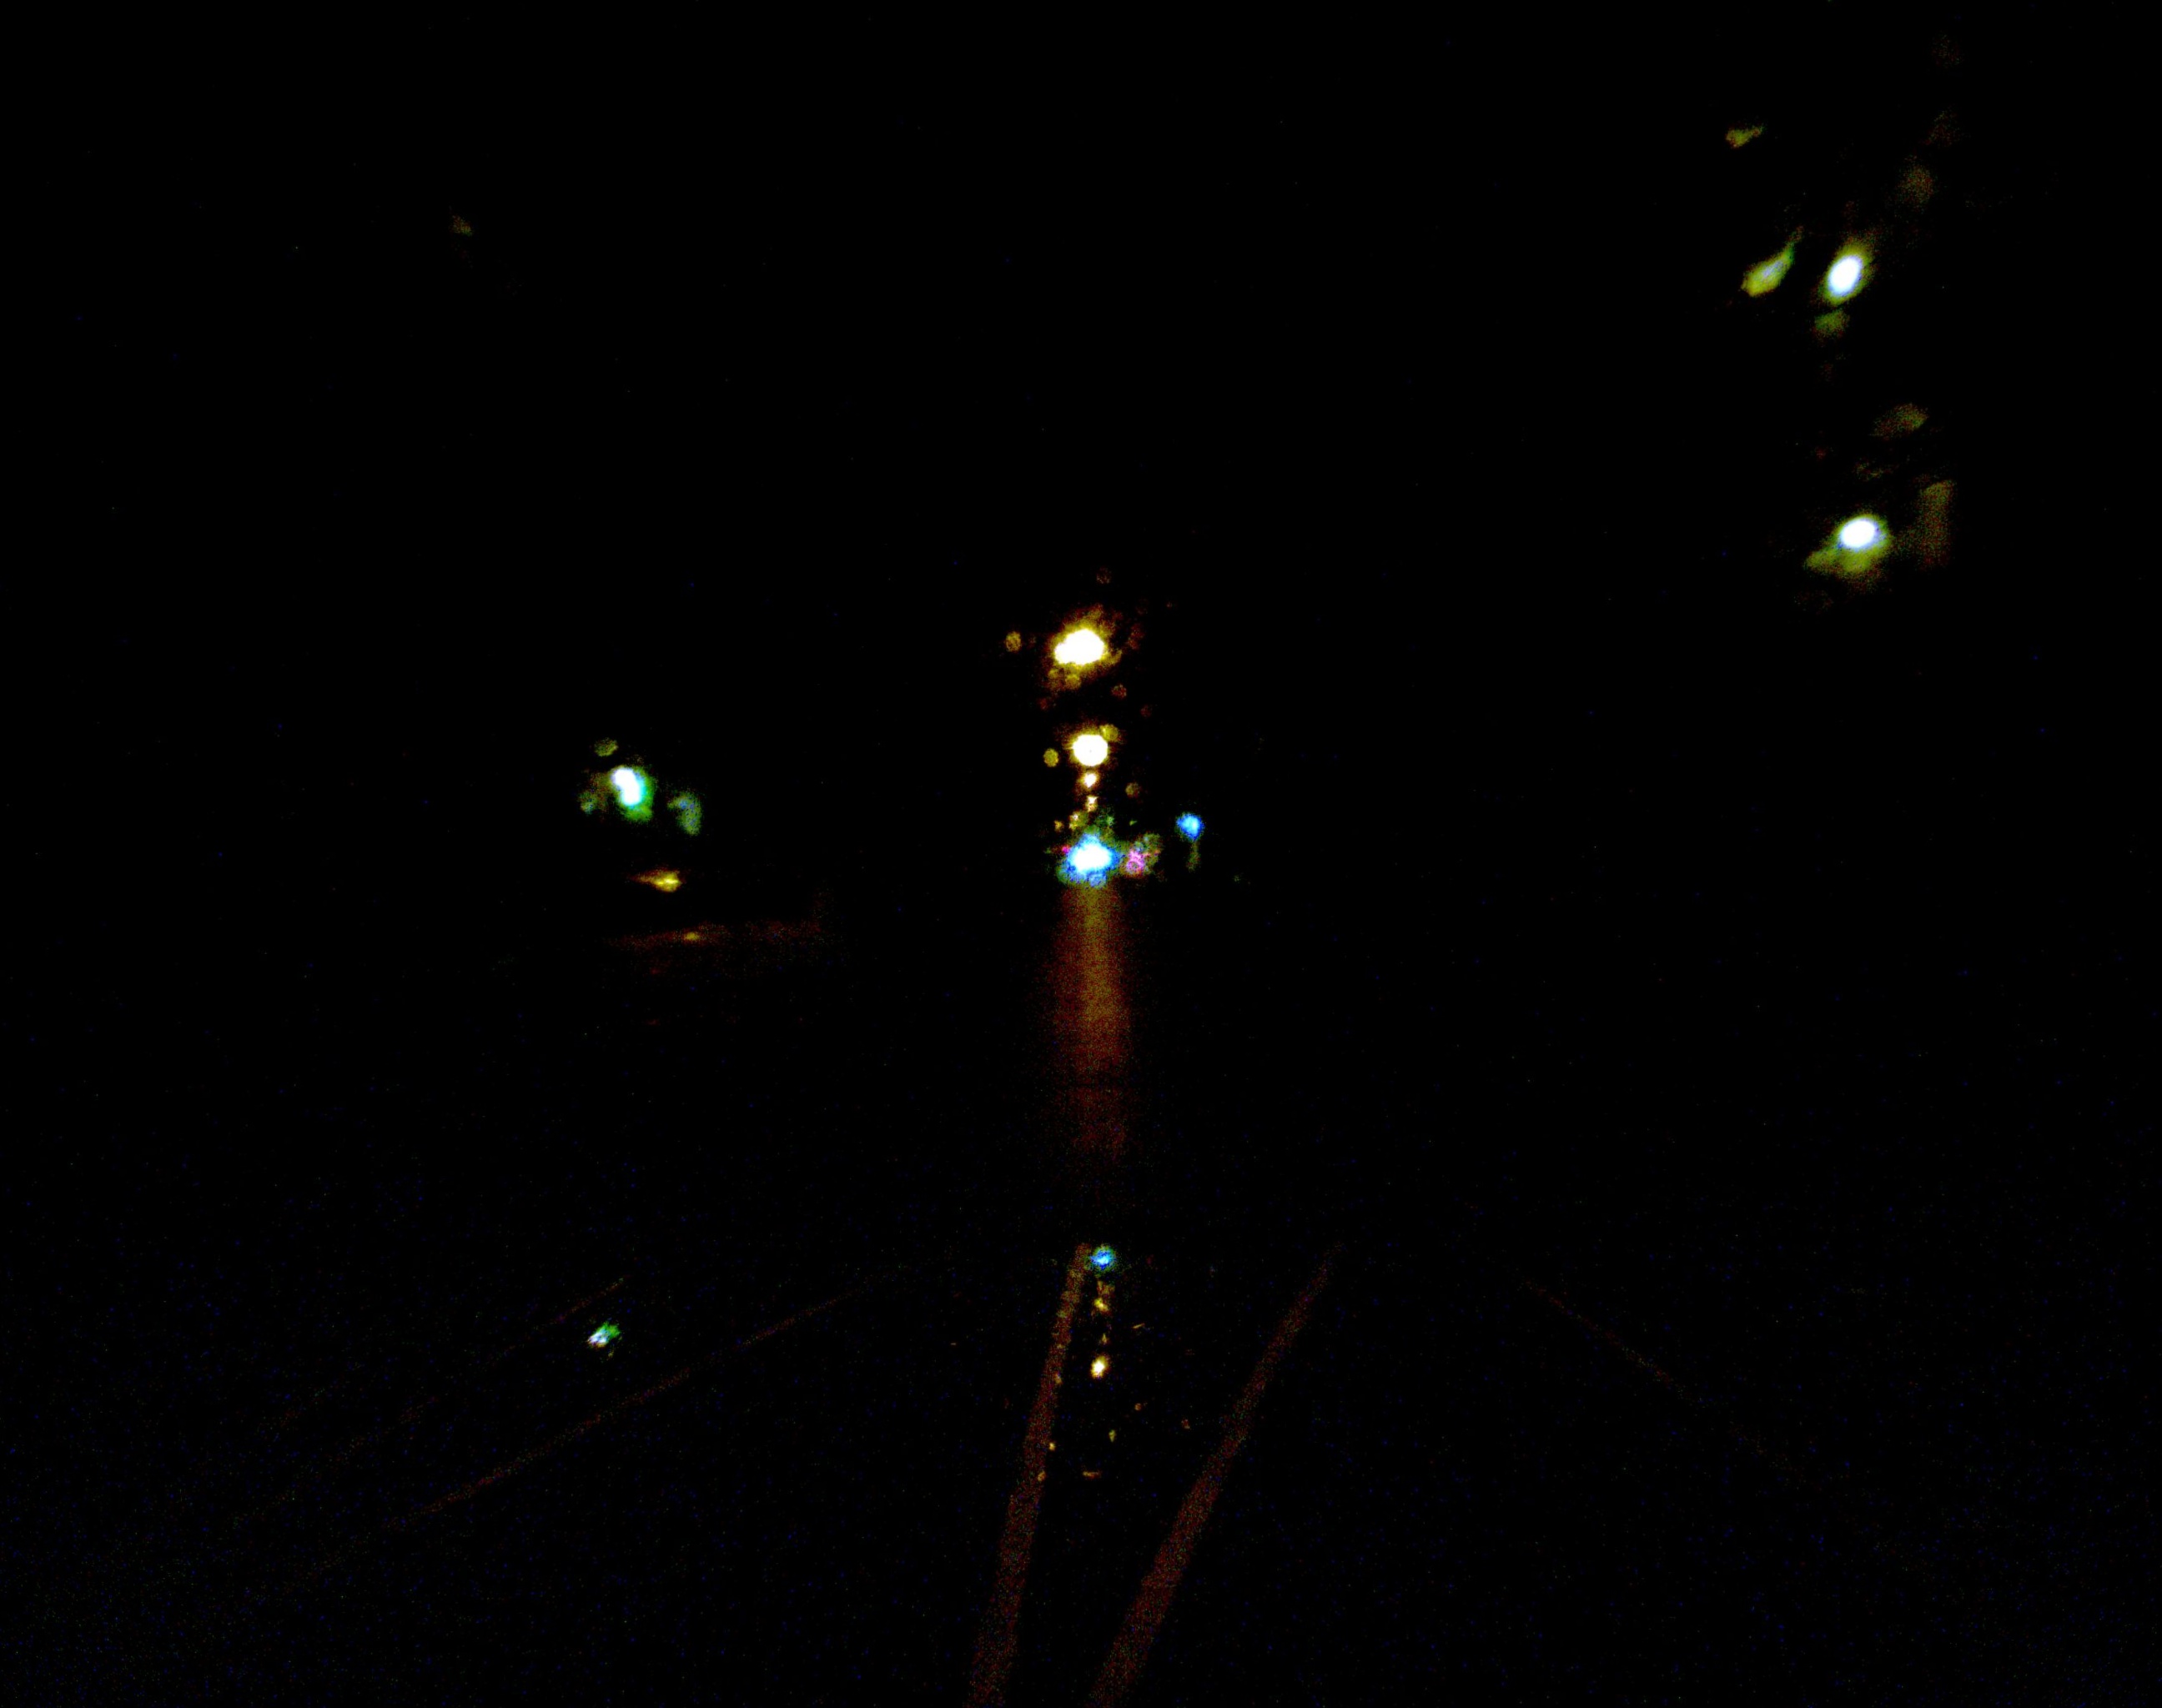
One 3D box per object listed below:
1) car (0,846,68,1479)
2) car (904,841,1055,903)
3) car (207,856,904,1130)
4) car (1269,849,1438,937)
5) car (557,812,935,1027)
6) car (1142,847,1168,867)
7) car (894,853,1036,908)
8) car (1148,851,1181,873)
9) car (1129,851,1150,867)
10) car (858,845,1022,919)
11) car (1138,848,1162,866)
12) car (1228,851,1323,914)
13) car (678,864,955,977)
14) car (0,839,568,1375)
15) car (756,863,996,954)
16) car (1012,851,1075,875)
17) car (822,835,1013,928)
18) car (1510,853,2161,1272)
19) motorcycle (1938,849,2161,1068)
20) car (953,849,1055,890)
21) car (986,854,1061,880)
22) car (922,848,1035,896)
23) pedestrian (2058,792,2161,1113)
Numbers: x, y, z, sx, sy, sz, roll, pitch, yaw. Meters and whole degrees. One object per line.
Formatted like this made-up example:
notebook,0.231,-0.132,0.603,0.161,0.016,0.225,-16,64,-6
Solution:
car,-4.150,0.813,0.531,3.747,1.702,1.767,1,0,-33
car,-3.471,0.592,26.111,4.719,1.968,1.975,1,0,-28
car,-3.705,0.851,6.186,4.078,1.588,1.830,1,0,-27
car,5.172,0.660,15.051,1.721,1.470,4.159,-1,0,-2
car,-3.820,0.635,8.874,3.747,2.017,1.717,1,0,-34
car,6.284,0.259,65.138,1.851,1.571,3.735,-2,0,1
car,-3.528,0.782,23.352,3.941,1.541,1.739,1,0,-33
car,5.836,0.530,53.468,1.851,1.470,3.735,-2,0,1
car,6.001,0.526,78.337,1.851,1.571,3.735,-2,0,1
car,-3.721,0.702,20.297,3.942,1.782,1.738,1,0,-36
car,6.340,0.257,70.230,1.851,1.571,3.735,-2,0,1
car,5.088,0.680,20.379,1.720,1.470,3.786,-2,0,3
car,-3.989,0.910,11.581,3.712,1.444,1.654,1,0,-31
car,-4.275,0.797,2.909,3.800,1.702,1.744,1,0,-33
car,-3.826,0.924,14.455,4.064,1.444,1.674,-1,0,-34
car,-2.552,0.615,52.127,3.939,1.553,1.707,1,0,-22
car,-3.734,0.581,17.604,3.942,1.931,1.738,1,0,-36
car,4.904,0.763,4.607,1.851,1.470,5.031,-1,0,1
motorcycle,7.531,0.700,5.707,0.538,1.462,1.457,-2,1,1
car,-3.224,0.640,31.755,3.938,1.610,1.707,1,0,-21
car,-3.267,0.743,43.403,3.939,1.455,1.707,1,0,-22
car,-3.918,0.674,28.949,3.938,1.732,1.707,1,0,-21
pedestrian,6.440,0.548,4.202,0.676,1.822,1.078,-2,1,3
